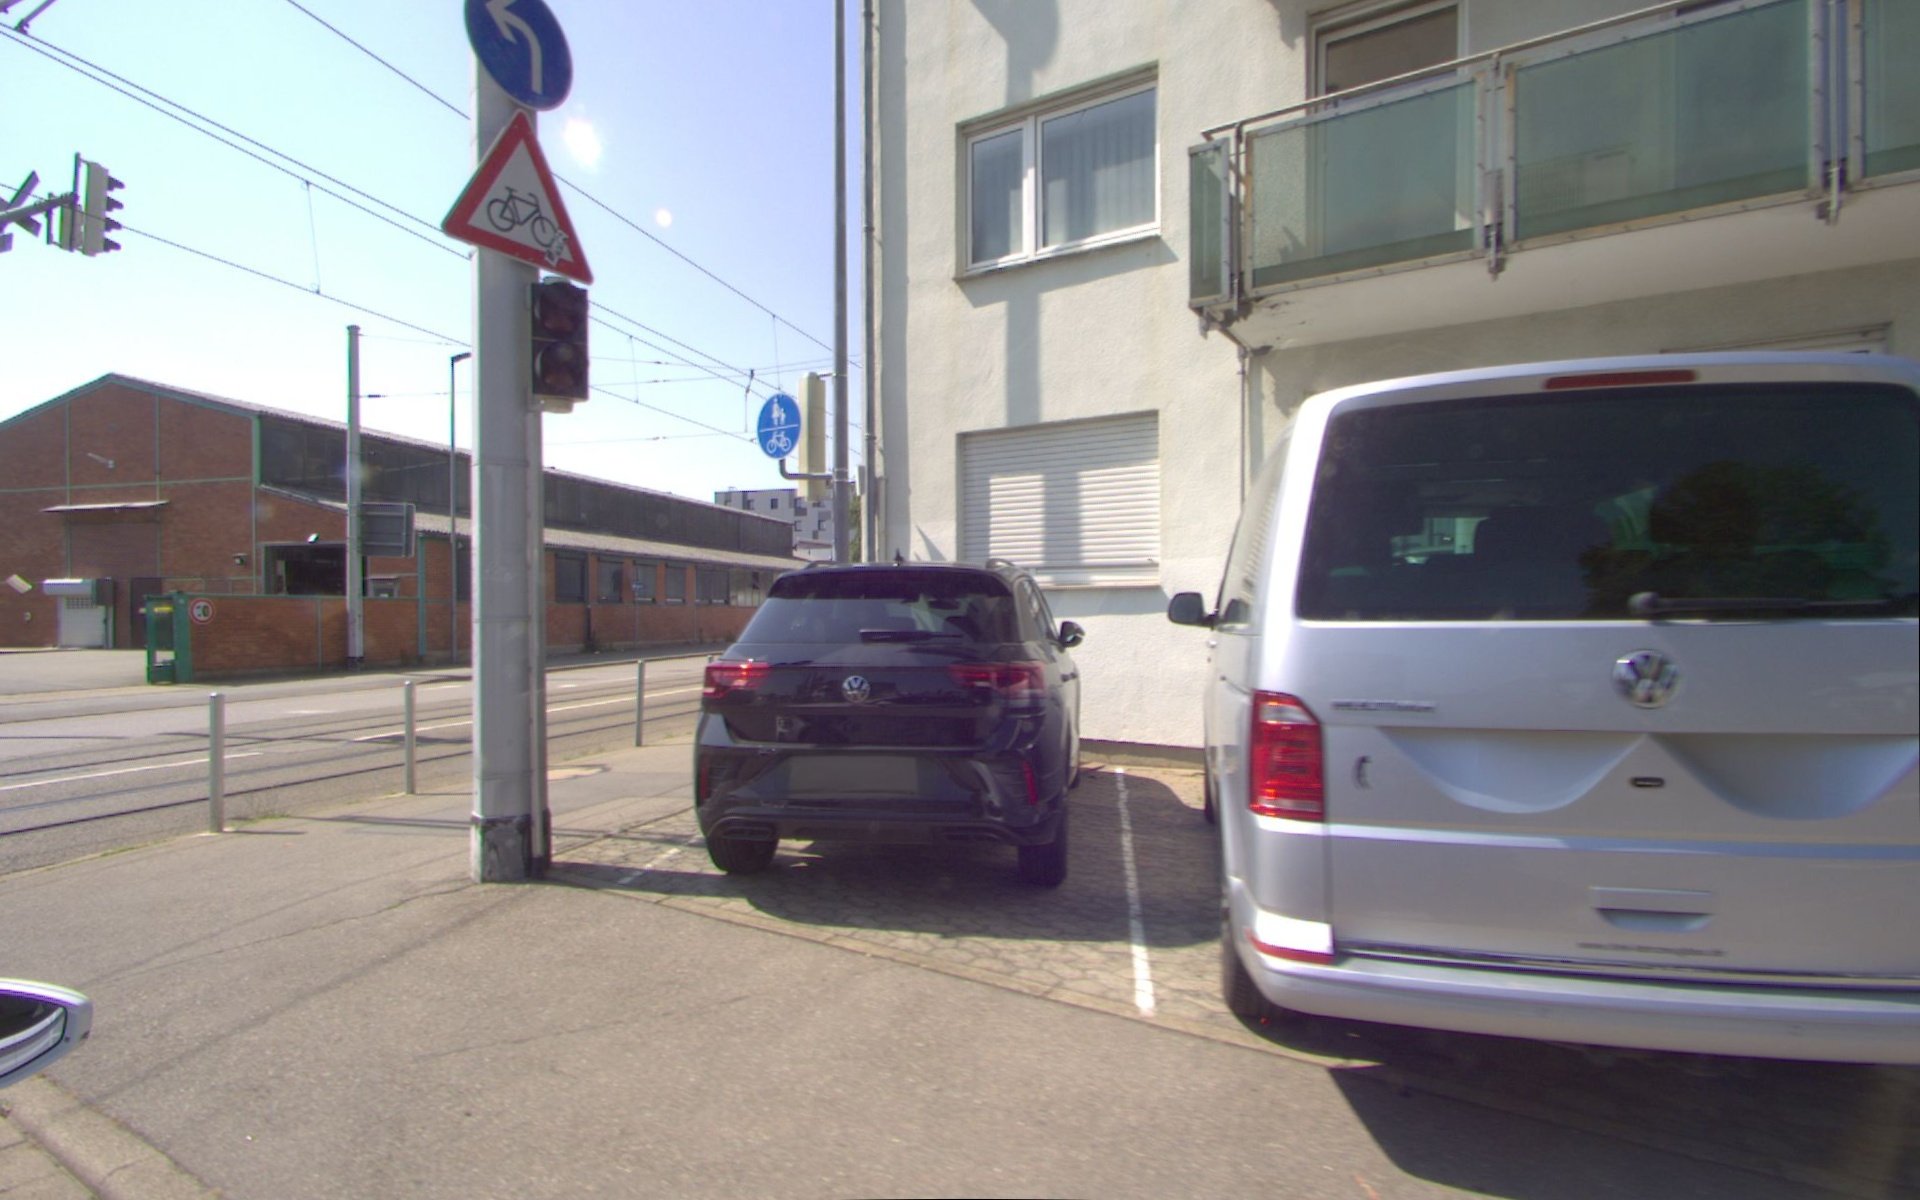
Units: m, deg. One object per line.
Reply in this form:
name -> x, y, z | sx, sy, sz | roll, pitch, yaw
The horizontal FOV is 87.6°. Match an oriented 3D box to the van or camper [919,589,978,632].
van or camper -> -0.713, 0.704, 70.071 | 2.477, 2.823, 7.109 | 0, 0, 14

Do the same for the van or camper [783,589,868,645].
van or camper -> -6.398, 0.800, 48.430 | 2.006, 2.567, 5.862 | 0, 0, 14

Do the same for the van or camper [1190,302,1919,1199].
van or camper -> 2.019, 0.357, 4.357 | 1.963, 1.933, 4.551 | 0, 0, 13

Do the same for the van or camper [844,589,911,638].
van or camper -> -4.523, 0.733, 55.708 | 2.006, 2.567, 5.576 | 0, 0, 14

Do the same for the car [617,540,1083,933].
car -> -0.235, 0.561, 6.020 | 1.844, 1.541, 3.973 | 0, 0, 8

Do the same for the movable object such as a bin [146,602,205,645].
movable object such as a bin -> -24.777, 0.741, 31.648 | 1.131, 1.332, 0.976 | 0, 1, 16
